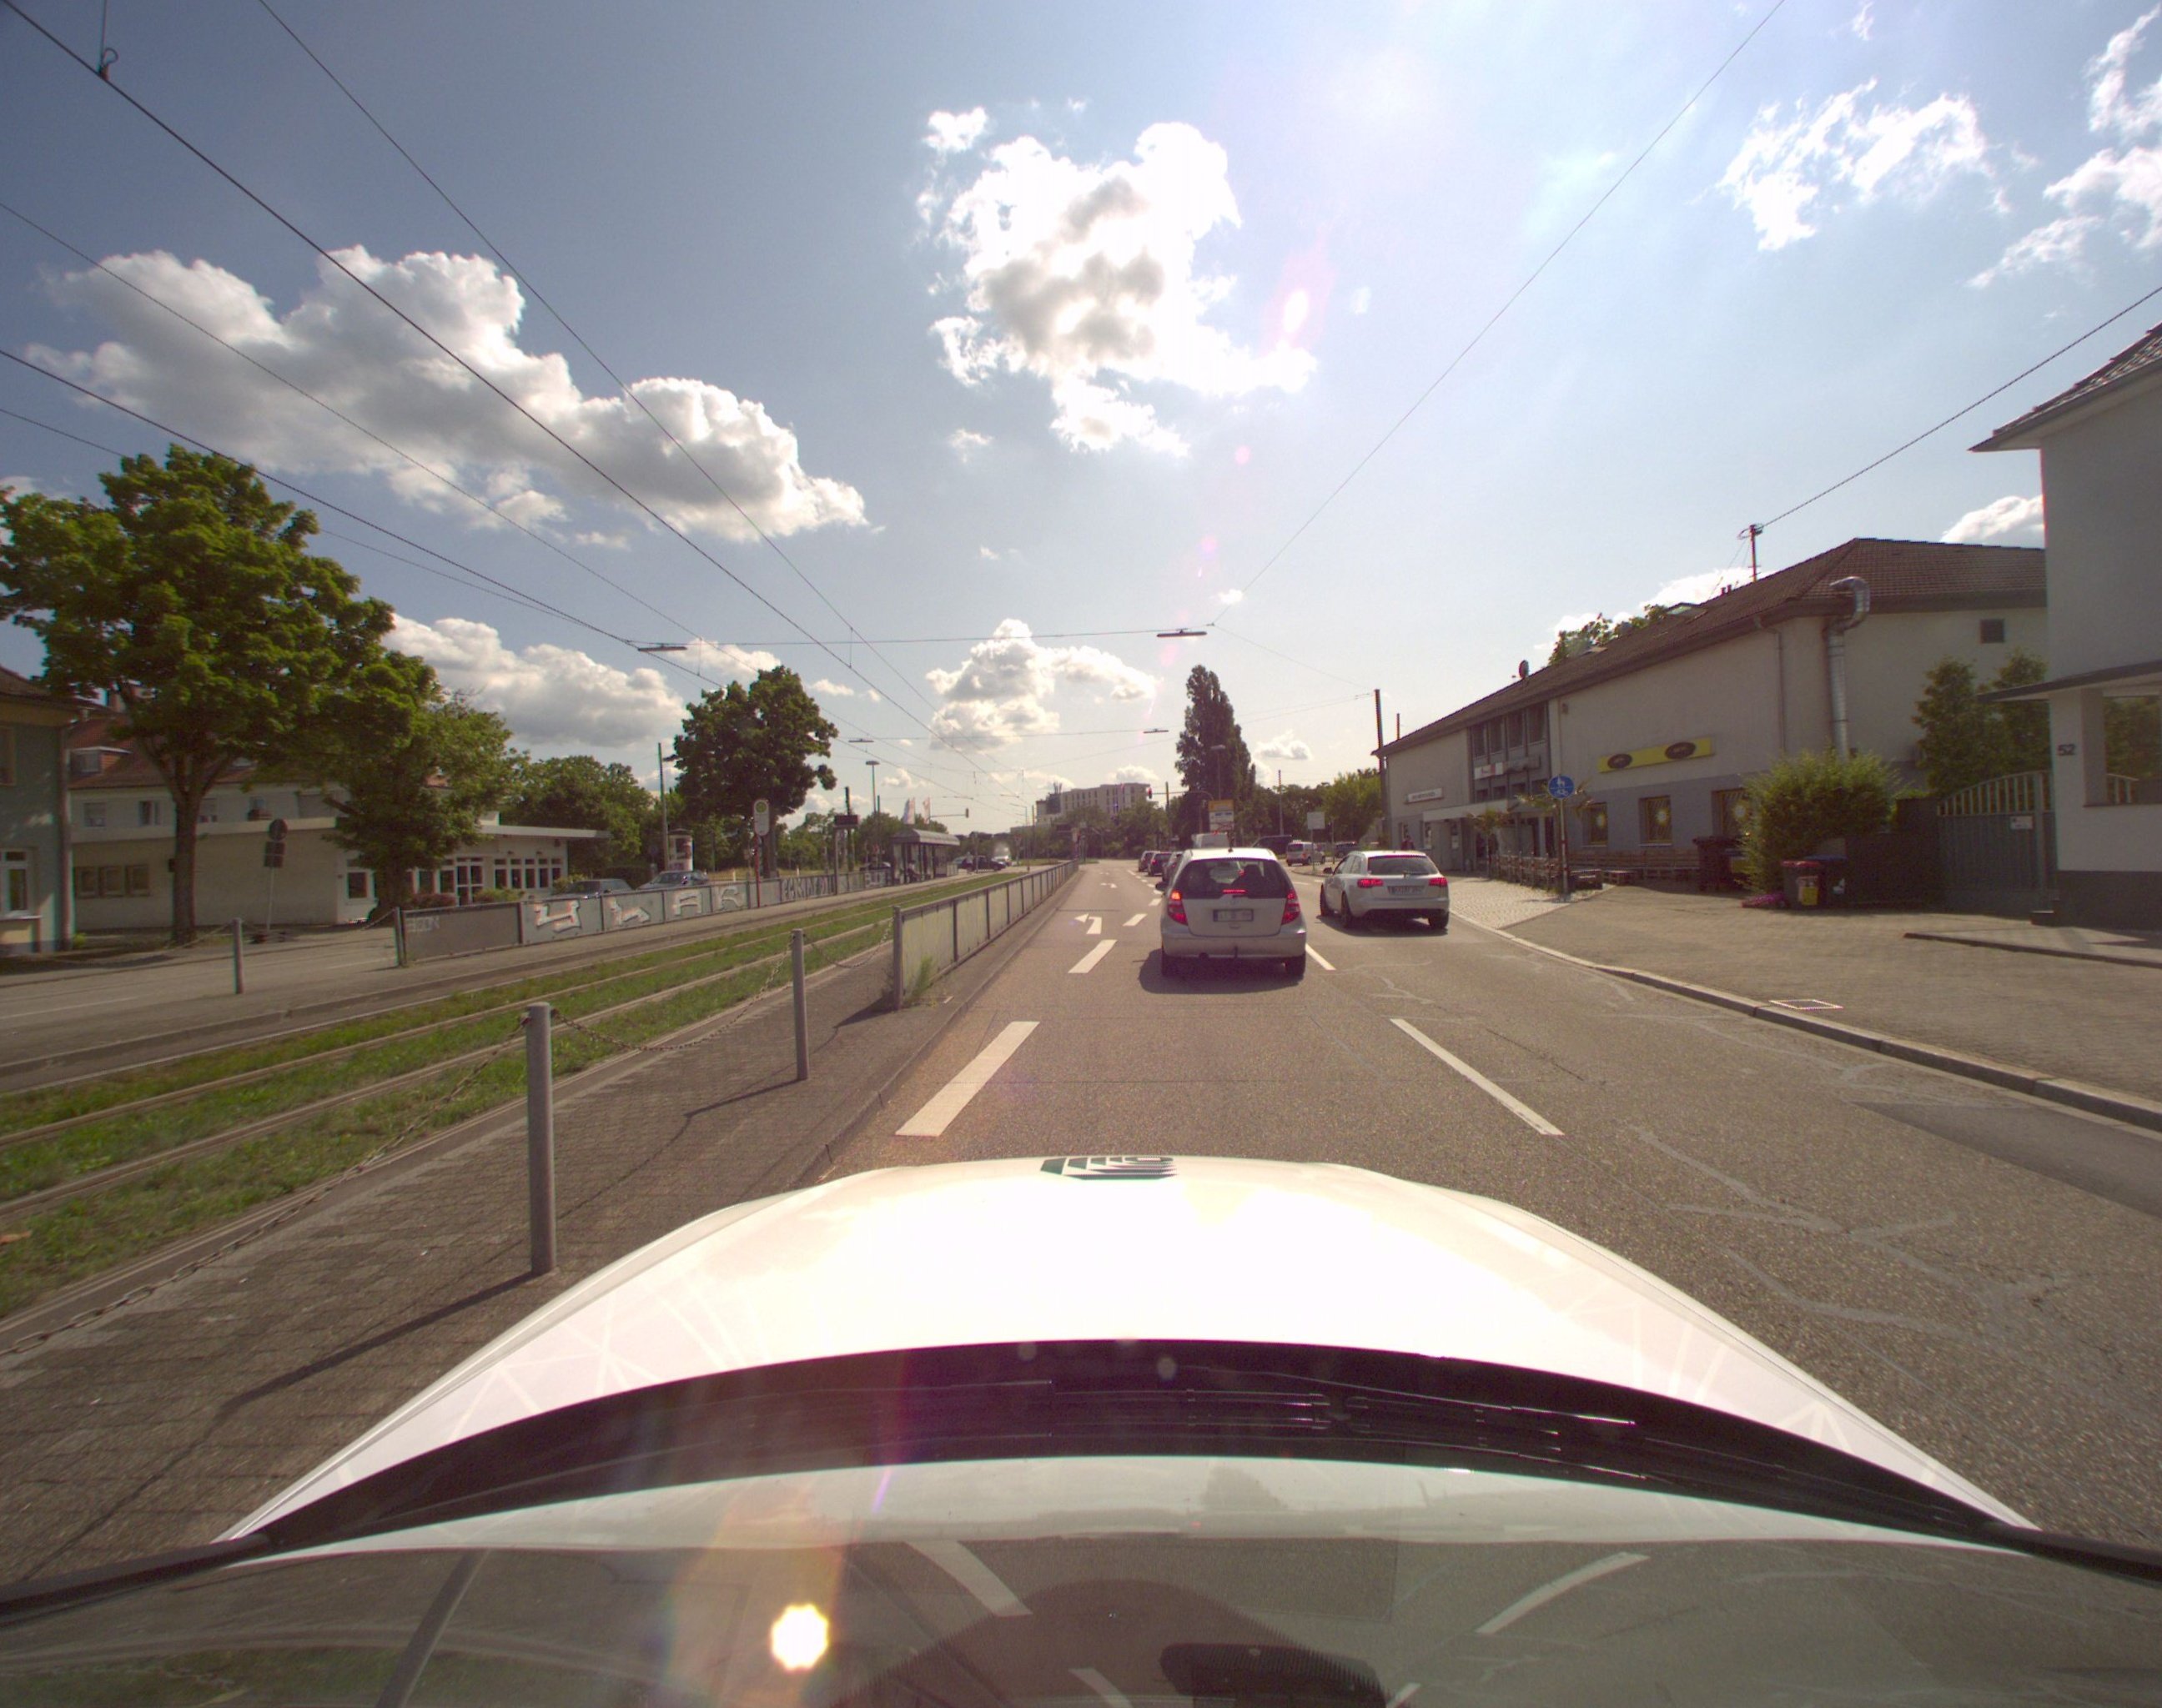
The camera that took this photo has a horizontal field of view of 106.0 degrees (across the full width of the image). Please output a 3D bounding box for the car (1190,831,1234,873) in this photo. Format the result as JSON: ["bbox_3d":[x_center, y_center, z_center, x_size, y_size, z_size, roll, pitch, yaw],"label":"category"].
[{"bbox_3d":[8.527,-0.138,53.334,2.034,2.557,5.232,-2,0,1],"label":"car"}]

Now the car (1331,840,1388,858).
[{"bbox_3d":[26.603,-0.474,77.864,4.840,1.660,2.002,-1,0,4],"label":"car"}]

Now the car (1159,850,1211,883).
[{"bbox_3d":[4.818,0.543,38.322,1.880,1.448,4.829,-1,0,1],"label":"car"}]

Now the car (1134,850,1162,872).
[{"bbox_3d":[4.807,0.466,58.932,1.738,1.499,4.381,-1,0,1],"label":"car"}]

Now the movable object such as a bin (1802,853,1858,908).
[{"bbox_3d":[13.122,0.456,14.279,0.440,0.935,0.549,-2,0,-3],"label":"movable object such as a bin"}]

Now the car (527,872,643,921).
[{"bbox_3d":[-18.805,1.579,31.107,1.779,1.584,3.934,-2,0,3],"label":"car"}]

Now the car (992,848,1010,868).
[{"bbox_3d":[-10.704,0.489,109.745,1.988,2.606,4.877,-1,0,-1],"label":"car"}]

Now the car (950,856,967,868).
[{"bbox_3d":[-16.619,1.094,110.408,1.858,1.651,3.996,-1,0,-3],"label":"car"}]

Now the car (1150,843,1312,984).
[{"bbox_3d":[2.004,0.672,11.363,1.777,1.577,4.104,-2,0,8],"label":"car"}]

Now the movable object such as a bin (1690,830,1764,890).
[{"bbox_3d":[15.520,0.129,19.588,1.077,1.332,0.888,-3,2,3],"label":"movable object such as a bin"}]

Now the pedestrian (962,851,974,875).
[{"bbox_3d":[-8.592,0.660,61.858,0.805,1.795,0.708,-2,0,-1],"label":"pedestrian"}]

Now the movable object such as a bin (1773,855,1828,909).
[{"bbox_3d":[12.620,0.484,14.287,0.443,0.895,0.545,-2,0,-3],"label":"movable object such as a bin"}]

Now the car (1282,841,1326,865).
[{"bbox_3d":[17.381,-0.062,63.339,1.866,1.731,4.120,-4,-2,37],"label":"car"}]

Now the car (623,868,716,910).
[{"bbox_3d":[-18.742,1.547,37.343,2.056,1.614,4.746,-3,0,-4],"label":"car"}]

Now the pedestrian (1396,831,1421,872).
[{"bbox_3d":[14.598,-0.108,36.284,0.718,1.782,0.703,-5,0,3],"label":"pedestrian"}]

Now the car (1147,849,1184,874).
[{"bbox_3d":[5.070,0.428,49.351,1.863,1.419,4.101,-1,0,1],"label":"car"}]

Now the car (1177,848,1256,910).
[{"bbox_3d":[3.620,0.614,22.470,1.731,1.492,4.636,-1,0,5],"label":"car"}]

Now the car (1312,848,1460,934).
[{"bbox_3d":[6.018,0.646,16.649,1.844,1.492,4.545,-1,0,7],"label":"car"}]

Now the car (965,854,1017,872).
[{"bbox_3d":[-8.874,0.868,80.571,4.651,1.549,2.004,-3,0,6],"label":"car"}]

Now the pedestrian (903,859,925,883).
[{"bbox_3d":[-9.609,0.964,46.969,1.055,1.376,0.860,-1,0,1],"label":"pedestrian"}]
